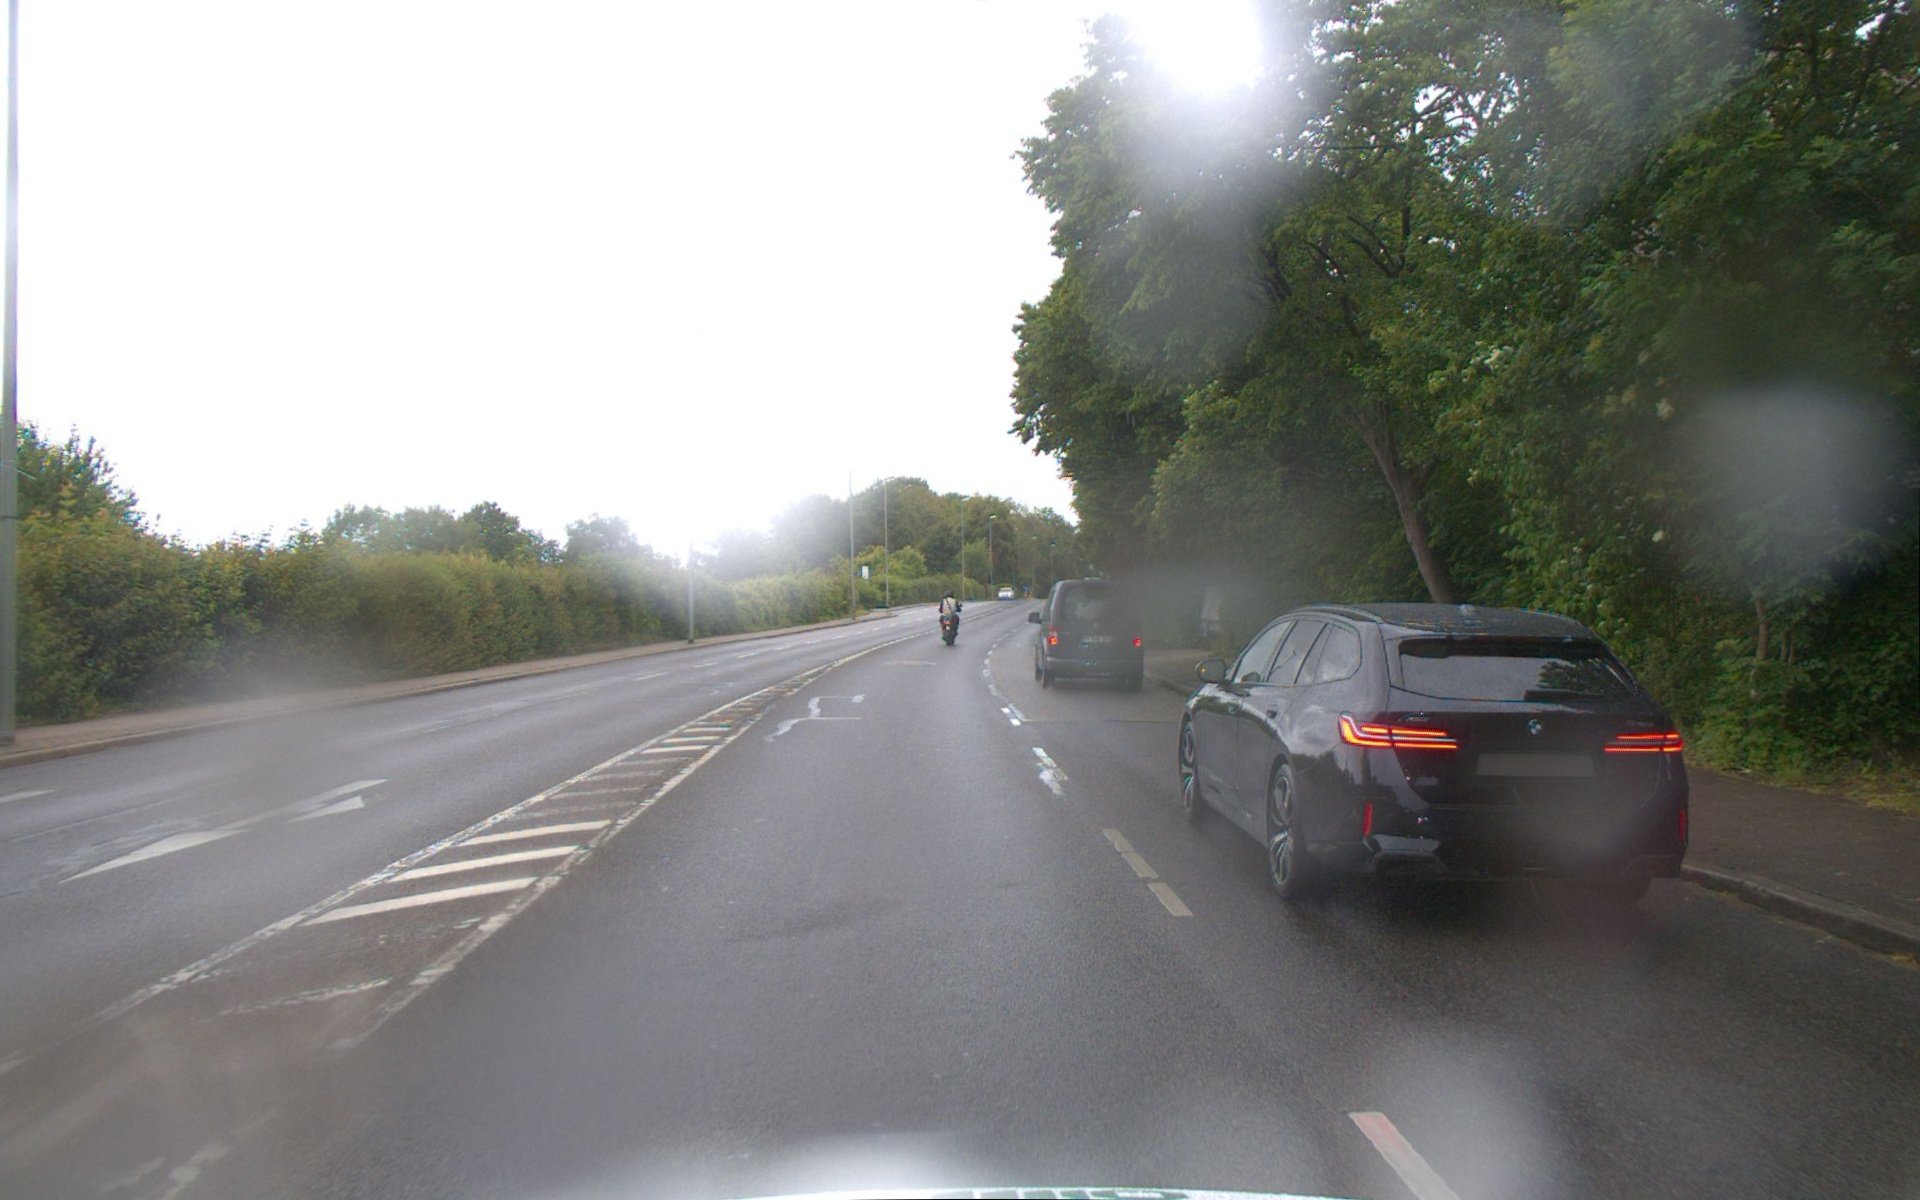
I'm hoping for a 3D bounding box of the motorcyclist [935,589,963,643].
[{"bbox_3d":[-0.330,0.490,51.048,0.827,1.675,0.468,0,1,3],"label":"motorcyclist"}]

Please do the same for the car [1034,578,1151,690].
[{"bbox_3d":[2.284,0.549,29.334,1.731,1.841,3.905,0,0,0],"label":"car"}]

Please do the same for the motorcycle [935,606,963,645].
[{"bbox_3d":[-0.334,0.773,51.109,0.726,1.139,1.427,1,1,4],"label":"motorcycle"}]

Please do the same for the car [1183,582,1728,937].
[{"bbox_3d":[2.487,0.726,9.271,1.729,1.563,3.670,1,0,-4],"label":"car"}]

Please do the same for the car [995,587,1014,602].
[{"bbox_3d":[5.300,-0.697,196.024,1.715,1.691,3.849,1,1,-7],"label":"car"}]

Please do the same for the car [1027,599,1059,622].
[{"bbox_3d":[5.875,0.721,116.683,1.972,1.440,4.490,1,2,7],"label":"car"}]

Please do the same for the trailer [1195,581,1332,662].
[{"bbox_3d":[8.052,0.565,44.024,3.281,1.675,1.199,8,1,2],"label":"trailer"}]
